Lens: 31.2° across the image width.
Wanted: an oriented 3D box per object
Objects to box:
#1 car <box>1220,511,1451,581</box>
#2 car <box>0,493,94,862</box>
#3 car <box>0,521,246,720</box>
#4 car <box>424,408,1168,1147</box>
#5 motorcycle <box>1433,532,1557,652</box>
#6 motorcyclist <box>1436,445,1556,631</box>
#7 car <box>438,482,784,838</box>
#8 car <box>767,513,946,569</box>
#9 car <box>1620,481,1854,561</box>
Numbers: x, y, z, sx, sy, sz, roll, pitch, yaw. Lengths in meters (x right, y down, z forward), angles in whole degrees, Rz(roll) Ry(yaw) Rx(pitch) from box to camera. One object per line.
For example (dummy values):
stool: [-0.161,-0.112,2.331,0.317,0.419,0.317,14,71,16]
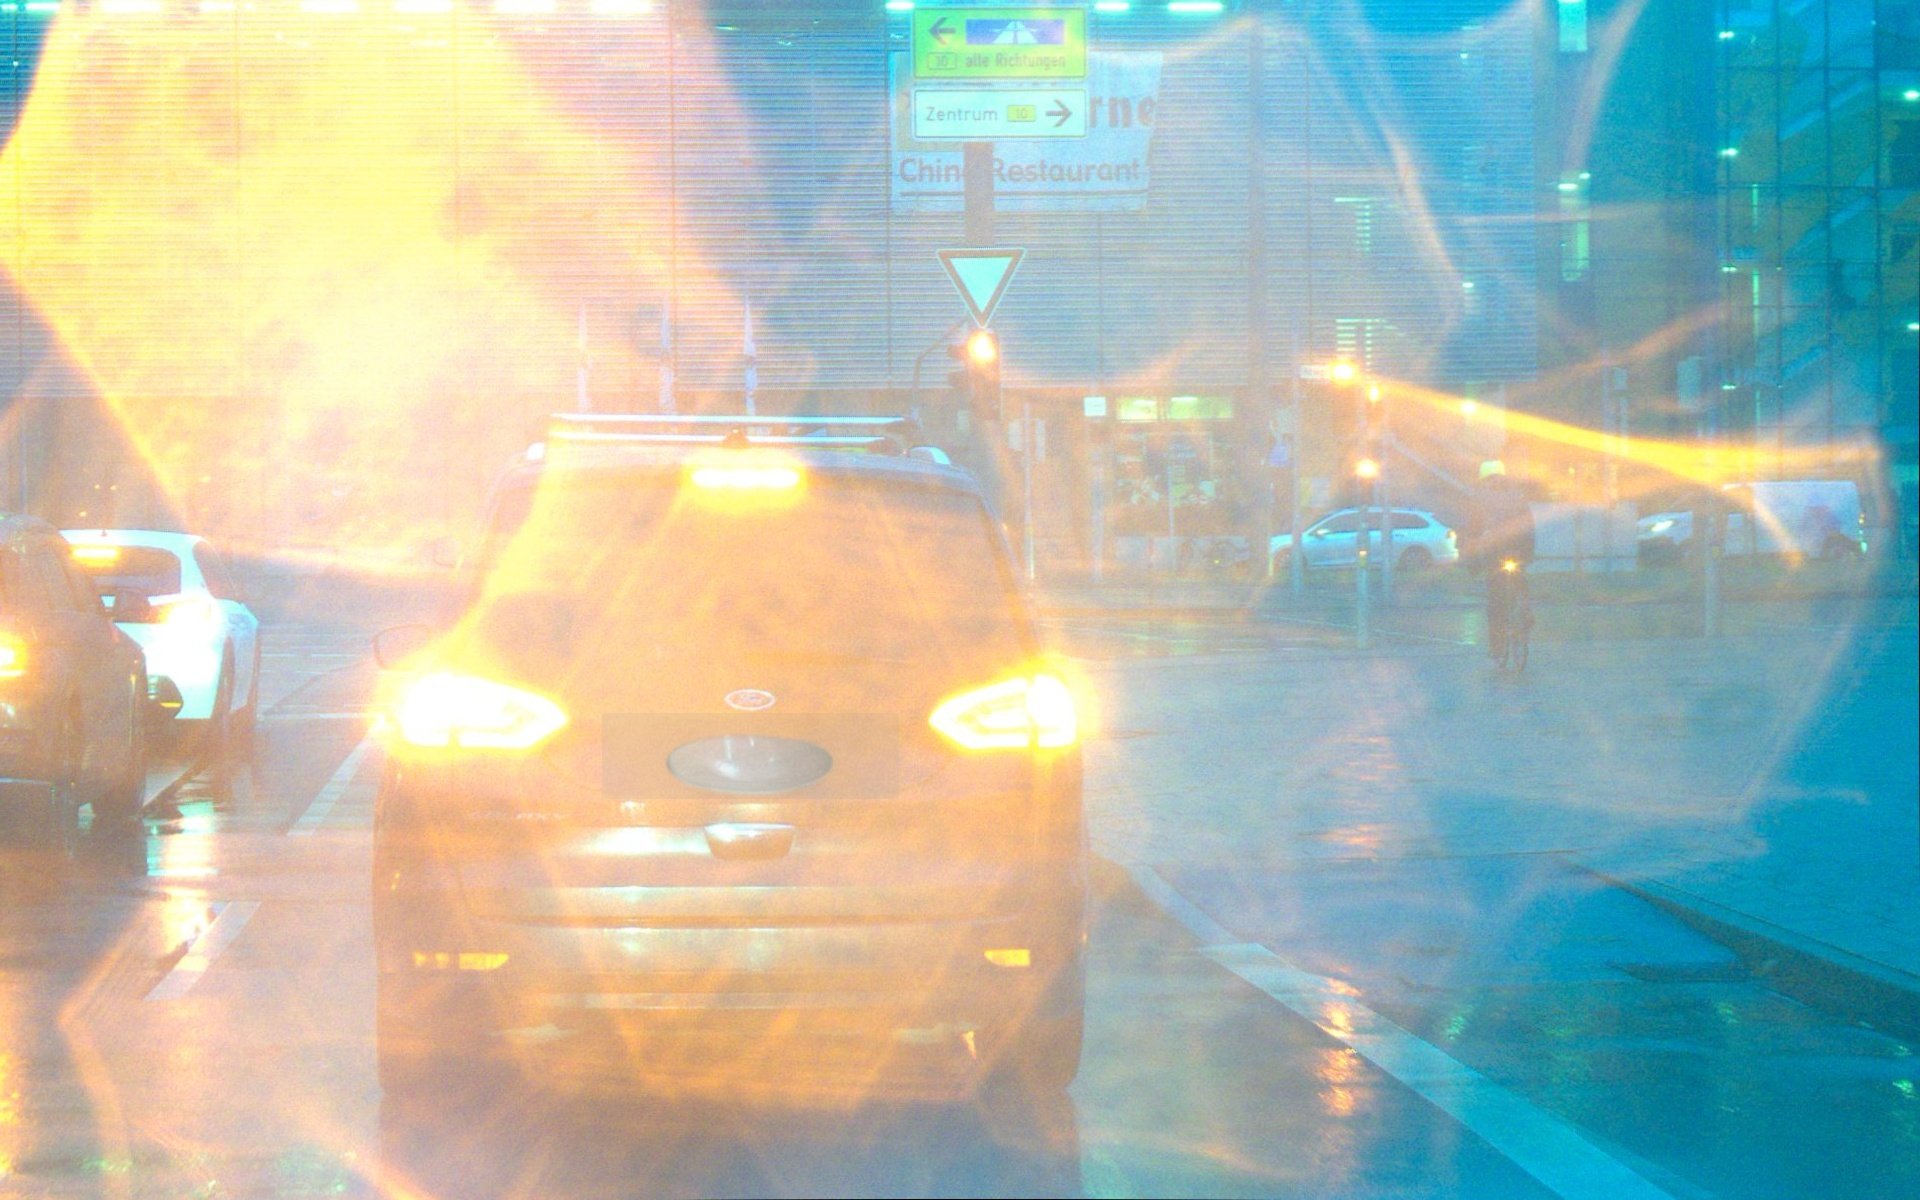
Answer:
car: [7.759,-1.130,71.229,4.418,1.385,1.800,-1,1,-10]
car: [-5.107,0.316,15.684,1.752,1.568,4.001,-1,1,-7]
car: [-5.761,0.090,23.745,1.540,1.247,4.069,-1,1,-11]
car: [-0.589,0.381,10.347,1.734,1.732,4.248,2,1,-6]
motorcycle: [4.486,-0.078,28.933,0.853,0.968,1.581,-1,1,3]
motorcyclist: [4.487,-0.523,28.863,0.868,1.529,1.108,-1,1,3]
car: [-1.903,0.257,18.236,1.635,1.691,3.672,0,1,-8]
car: [-2.290,-1.301,75.429,3.758,1.161,1.681,-1,1,-8]
car: [16.293,-1.664,72.175,4.418,1.589,1.800,-1,1,-11]
